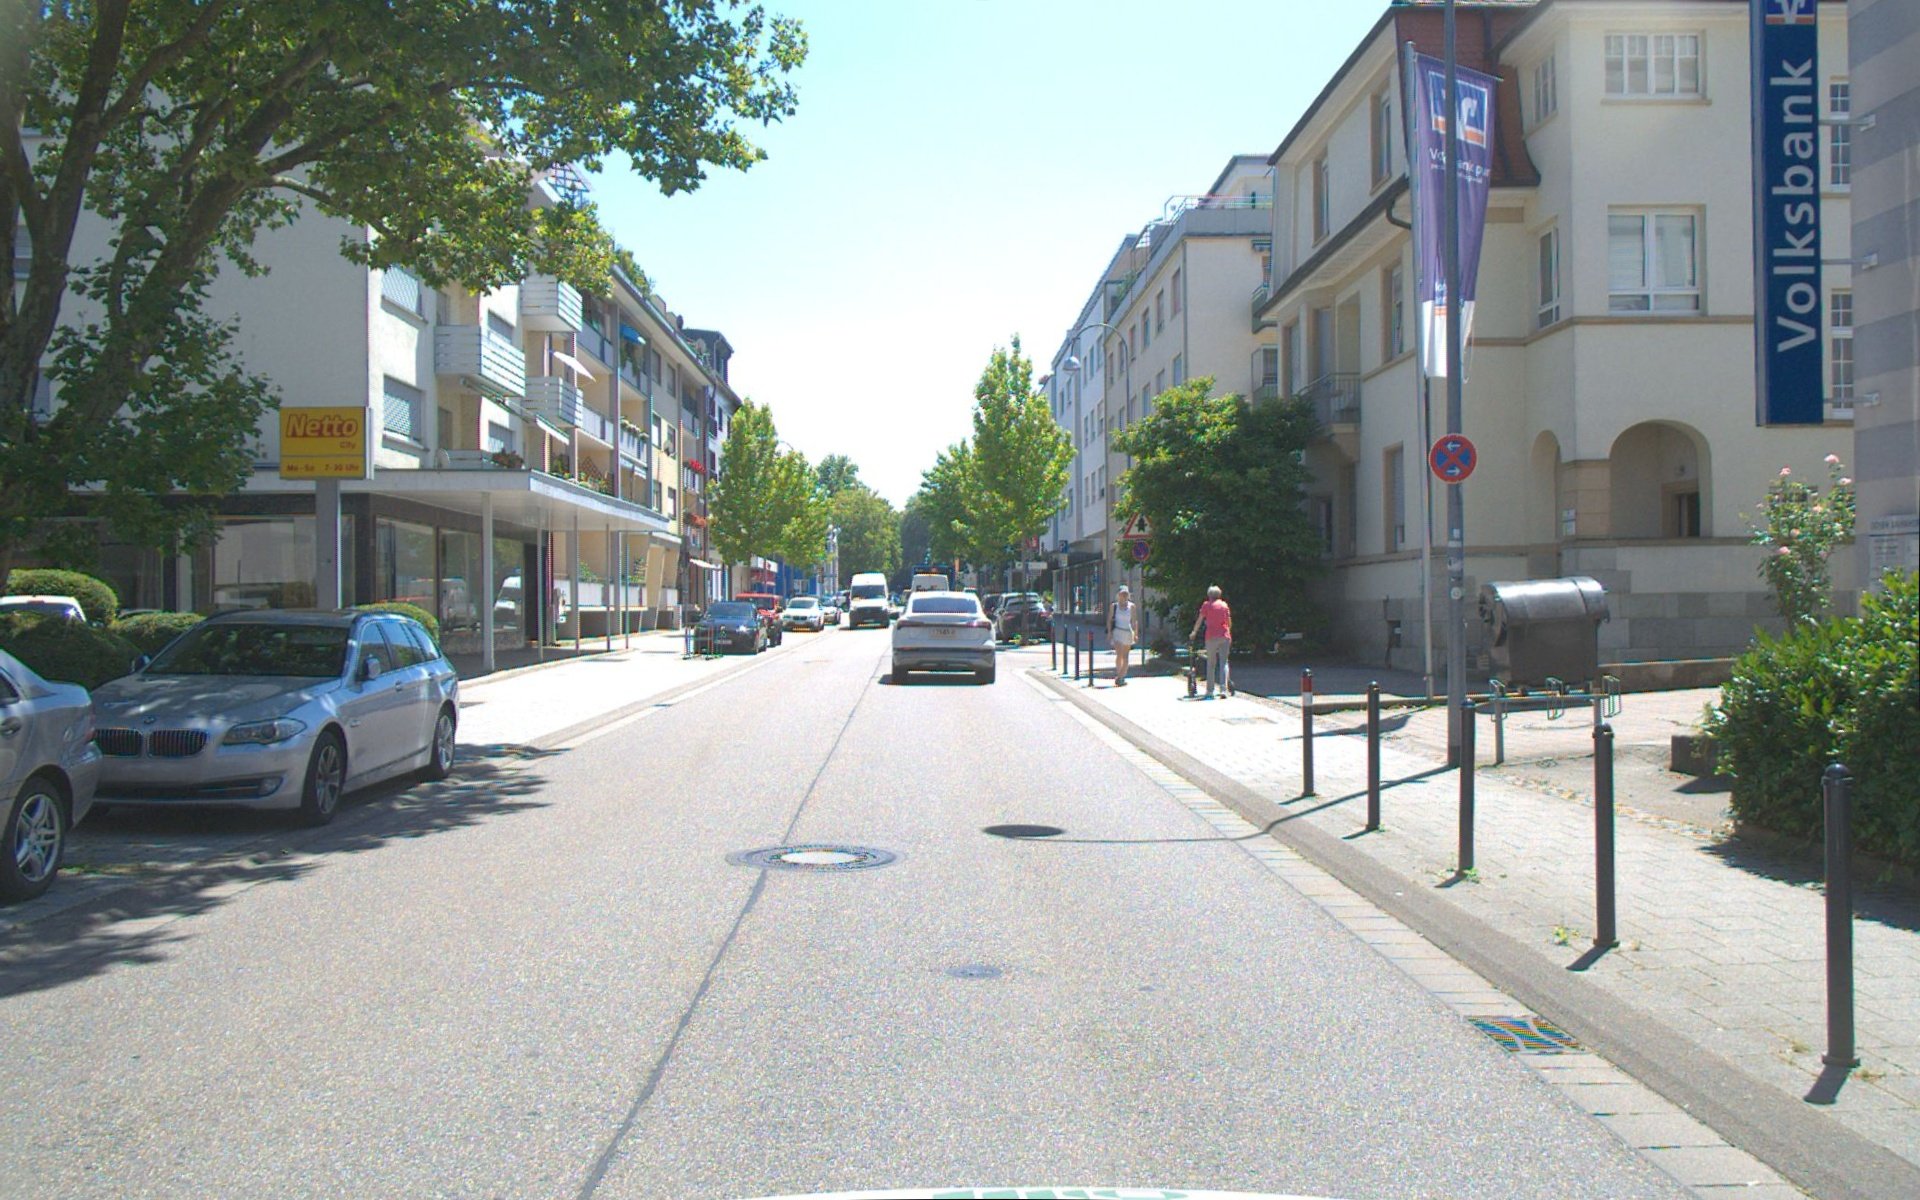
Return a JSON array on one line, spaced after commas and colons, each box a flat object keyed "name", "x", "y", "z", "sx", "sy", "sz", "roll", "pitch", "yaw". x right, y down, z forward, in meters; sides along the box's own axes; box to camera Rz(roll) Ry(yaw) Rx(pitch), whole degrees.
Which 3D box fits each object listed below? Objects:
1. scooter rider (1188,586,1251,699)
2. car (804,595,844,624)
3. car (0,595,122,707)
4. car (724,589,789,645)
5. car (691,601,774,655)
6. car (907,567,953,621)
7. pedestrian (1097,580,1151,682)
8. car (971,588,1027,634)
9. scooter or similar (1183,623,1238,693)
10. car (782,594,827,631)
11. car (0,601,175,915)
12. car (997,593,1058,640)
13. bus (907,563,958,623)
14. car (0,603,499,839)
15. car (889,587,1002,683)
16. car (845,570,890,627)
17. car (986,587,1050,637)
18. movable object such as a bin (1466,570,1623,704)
[{"name": "scooter rider", "x": 3.713, "y": 0.598, "z": 23.740, "sx": 0.702, "sy": 1.575, "sz": 0.770, "roll": -2, "pitch": 0, "yaw": -4}, {"name": "car", "x": -7.288, "y": 0.482, "z": 88.837, "sx": 1.716, "sy": 1.478, "sz": 4.401, "roll": 1, "pitch": 0, "yaw": 0}, {"name": "car", "x": -13.665, "y": 0.713, "z": 24.546, "sx": 1.873, "sy": 1.512, "sz": 3.952, "roll": -1, "pitch": 0, "yaw": -32}, {"name": "car", "x": -6.688, "y": 0.546, "z": 54.671, "sx": 1.717, "sy": 1.732, "sz": 4.100, "roll": 1, "pitch": 0, "yaw": -2}, {"name": "car", "x": -6.555, "y": 0.782, "z": 48.199, "sx": 1.858, "sy": 1.442, "sz": 5.045, "roll": 1, "pitch": 0, "yaw": -2}, {"name": "car", "x": -1.469, "y": -0.277, "z": 80.130, "sx": 2.112, "sy": 2.484, "sz": 5.282, "roll": 1, "pitch": 0, "yaw": -1}, {"name": "pedestrian", "x": 2.759, "y": 0.519, "z": 27.892, "sx": 0.686, "sy": 1.655, "sz": 0.783, "roll": -4, "pitch": 0, "yaw": -3}, {"name": "car", "x": 1.554, "y": 0.425, "z": 67.124, "sx": 1.819, "sy": 1.704, "sz": 4.533, "roll": -2, "pitch": 0, "yaw": -4}, {"name": "scooter or similar", "x": 3.693, "y": 0.843, "z": 24.411, "sx": 0.650, "sy": 0.980, "sz": 0.753, "roll": -2, "pitch": 0, "yaw": -2}, {"name": "car", "x": -7.307, "y": 0.559, "z": 77.967, "sx": 1.717, "sy": 1.646, "sz": 4.400, "roll": 1, "pitch": 0, "yaw": 0}, {"name": "car", "x": -5.492, "y": 0.753, "z": 7.254, "sx": 1.941, "sy": 1.477, "sz": 4.866, "roll": 0, "pitch": 0, "yaw": -3}, {"name": "car", "x": 2.236, "y": 0.519, "z": 55.657, "sx": 1.857, "sy": 1.463, "sz": 4.544, "roll": -1, "pitch": 0, "yaw": 0}, {"name": "bus", "x": -1.529, "y": -0.372, "z": 94.163, "sx": 2.606, "sy": 3.278, "sz": 7.302, "roll": 1, "pitch": 0, "yaw": 1}, {"name": "car", "x": -5.263, "y": 0.778, "z": 13.158, "sx": 1.941, "sy": 1.477, "sz": 5.148, "roll": 0, "pitch": 0, "yaw": -3}, {"name": "car", "x": -0.339, "y": 0.610, "z": 31.051, "sx": 1.954, "sy": 1.661, "sz": 3.998, "roll": 1, "pitch": 0, "yaw": -3}, {"name": "car", "x": -4.642, "y": -0.078, "z": 83.701, "sx": 1.995, "sy": 2.676, "sz": 7.105, "roll": -3, "pitch": 0, "yaw": -2}, {"name": "car", "x": 2.117, "y": 0.415, "z": 61.796, "sx": 1.859, "sy": 1.704, "sz": 4.687, "roll": -2, "pitch": 0, "yaw": -4}, {"name": "movable object such as a bin", "x": 7.064, "y": 0.433, "z": 20.083, "sx": 1.340, "sy": 1.484, "sz": 1.380, "roll": -4, "pitch": 0, "yaw": 0}]
